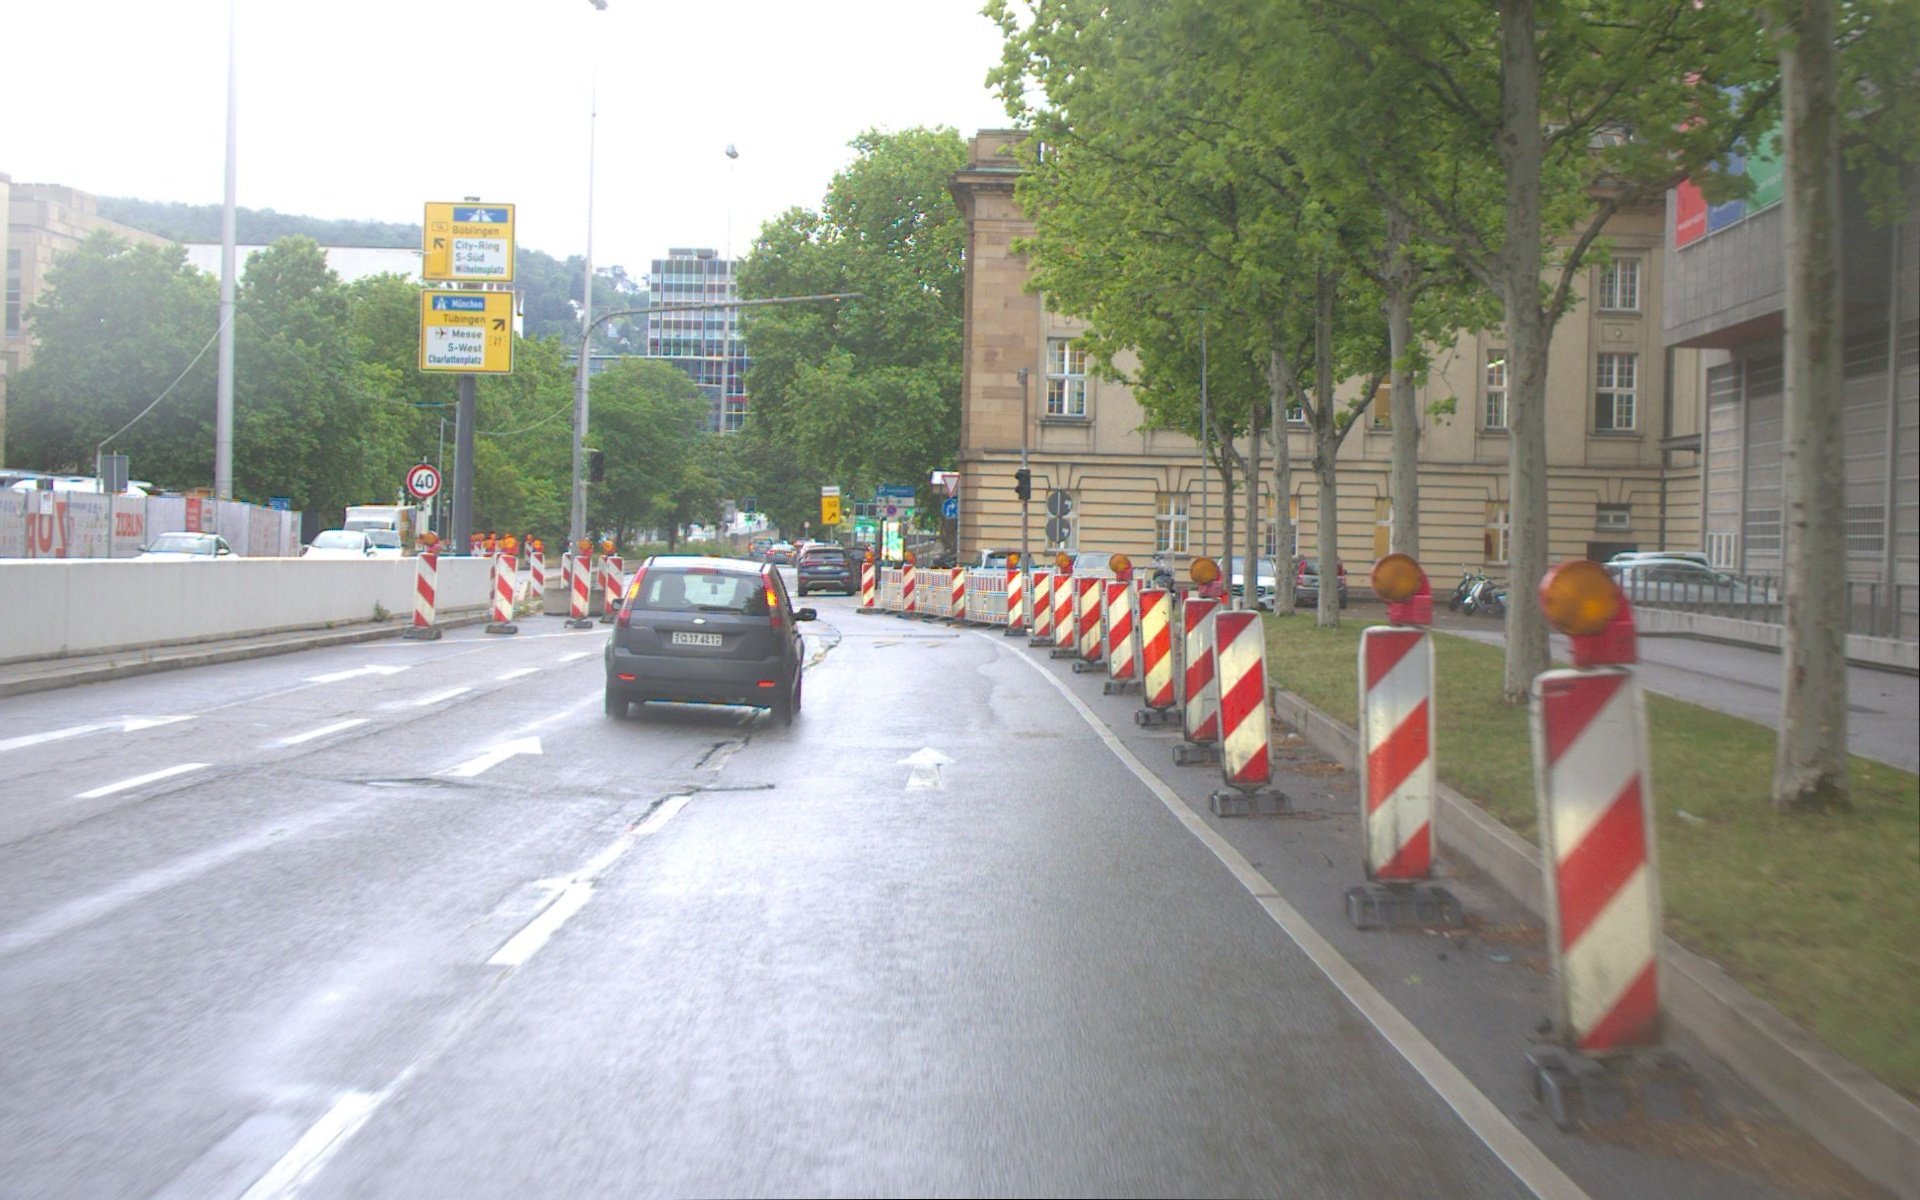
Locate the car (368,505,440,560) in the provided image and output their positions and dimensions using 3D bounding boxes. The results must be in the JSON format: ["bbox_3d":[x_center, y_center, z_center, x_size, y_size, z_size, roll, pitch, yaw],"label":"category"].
[{"bbox_3d":[-17.806,-2.177,110.239,1.668,1.516,4.001,4,3,-2],"label":"car"}]

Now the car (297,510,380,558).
[{"bbox_3d":[-16.897,-1.806,93.565,1.626,1.191,3.405,3,1,-1],"label":"car"}]

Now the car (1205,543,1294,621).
[{"bbox_3d":[6.963,-0.458,82.940,1.994,1.702,4.000,3,2,4],"label":"car"}]

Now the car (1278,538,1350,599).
[{"bbox_3d":[10.720,-0.932,104.345,1.994,1.703,3.999,3,0,4],"label":"car"}]

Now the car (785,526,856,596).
[{"bbox_3d":[-4.321,-1.238,107.290,1.993,2.006,4.001,3,2,-1],"label":"car"}]

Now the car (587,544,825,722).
[{"bbox_3d":[-2.233,0.258,31.105,1.670,1.422,3.757,3,1,2],"label":"car"}]

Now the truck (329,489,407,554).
[{"bbox_3d":[-24.113,-3.182,140.238,2.413,2.331,5.445,4,0,-3],"label":"truck"}]

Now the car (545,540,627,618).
[{"bbox_3d":[-6.858,-0.398,63.199,1.385,1.381,3.068,1,1,-5],"label":"car"}]

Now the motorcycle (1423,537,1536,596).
[{"bbox_3d":[15.420,-0.996,102.093,3.162,1.538,0.889,4,-1,4],"label":"motorcycle"}]

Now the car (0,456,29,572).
[{"bbox_3d":[-17.562,-1.534,59.104,1.993,2.007,4.000,3,1,-1],"label":"car"}]

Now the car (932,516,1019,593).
[{"bbox_3d":[0.341,-1.123,83.820,1.993,1.702,4.001,3,2,-1],"label":"car"}]

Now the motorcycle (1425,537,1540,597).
[{"bbox_3d":[15.351,-0.968,101.066,3.161,1.538,0.889,4,-1,3],"label":"motorcycle"}]

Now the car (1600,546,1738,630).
[{"bbox_3d":[15.646,-0.246,76.160,1.993,1.754,5.096,1,0,0],"label":"car"}]

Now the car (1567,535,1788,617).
[{"bbox_3d":[14.203,-0.472,68.222,3.987,1.554,1.933,0,-1,1],"label":"car"}]

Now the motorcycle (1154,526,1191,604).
[{"bbox_3d":[5.147,-0.862,83.337,0.831,1.823,3.143,2,1,4],"label":"motorcycle"}]

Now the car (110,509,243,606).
[{"bbox_3d":[-17.447,-0.964,76.742,1.993,2.007,4.000,3,1,-1],"label":"car"}]

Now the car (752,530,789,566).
[{"bbox_3d":[-11.529,-3.165,209.066,1.993,2.007,4.001,4,0,-5],"label":"car"}]
